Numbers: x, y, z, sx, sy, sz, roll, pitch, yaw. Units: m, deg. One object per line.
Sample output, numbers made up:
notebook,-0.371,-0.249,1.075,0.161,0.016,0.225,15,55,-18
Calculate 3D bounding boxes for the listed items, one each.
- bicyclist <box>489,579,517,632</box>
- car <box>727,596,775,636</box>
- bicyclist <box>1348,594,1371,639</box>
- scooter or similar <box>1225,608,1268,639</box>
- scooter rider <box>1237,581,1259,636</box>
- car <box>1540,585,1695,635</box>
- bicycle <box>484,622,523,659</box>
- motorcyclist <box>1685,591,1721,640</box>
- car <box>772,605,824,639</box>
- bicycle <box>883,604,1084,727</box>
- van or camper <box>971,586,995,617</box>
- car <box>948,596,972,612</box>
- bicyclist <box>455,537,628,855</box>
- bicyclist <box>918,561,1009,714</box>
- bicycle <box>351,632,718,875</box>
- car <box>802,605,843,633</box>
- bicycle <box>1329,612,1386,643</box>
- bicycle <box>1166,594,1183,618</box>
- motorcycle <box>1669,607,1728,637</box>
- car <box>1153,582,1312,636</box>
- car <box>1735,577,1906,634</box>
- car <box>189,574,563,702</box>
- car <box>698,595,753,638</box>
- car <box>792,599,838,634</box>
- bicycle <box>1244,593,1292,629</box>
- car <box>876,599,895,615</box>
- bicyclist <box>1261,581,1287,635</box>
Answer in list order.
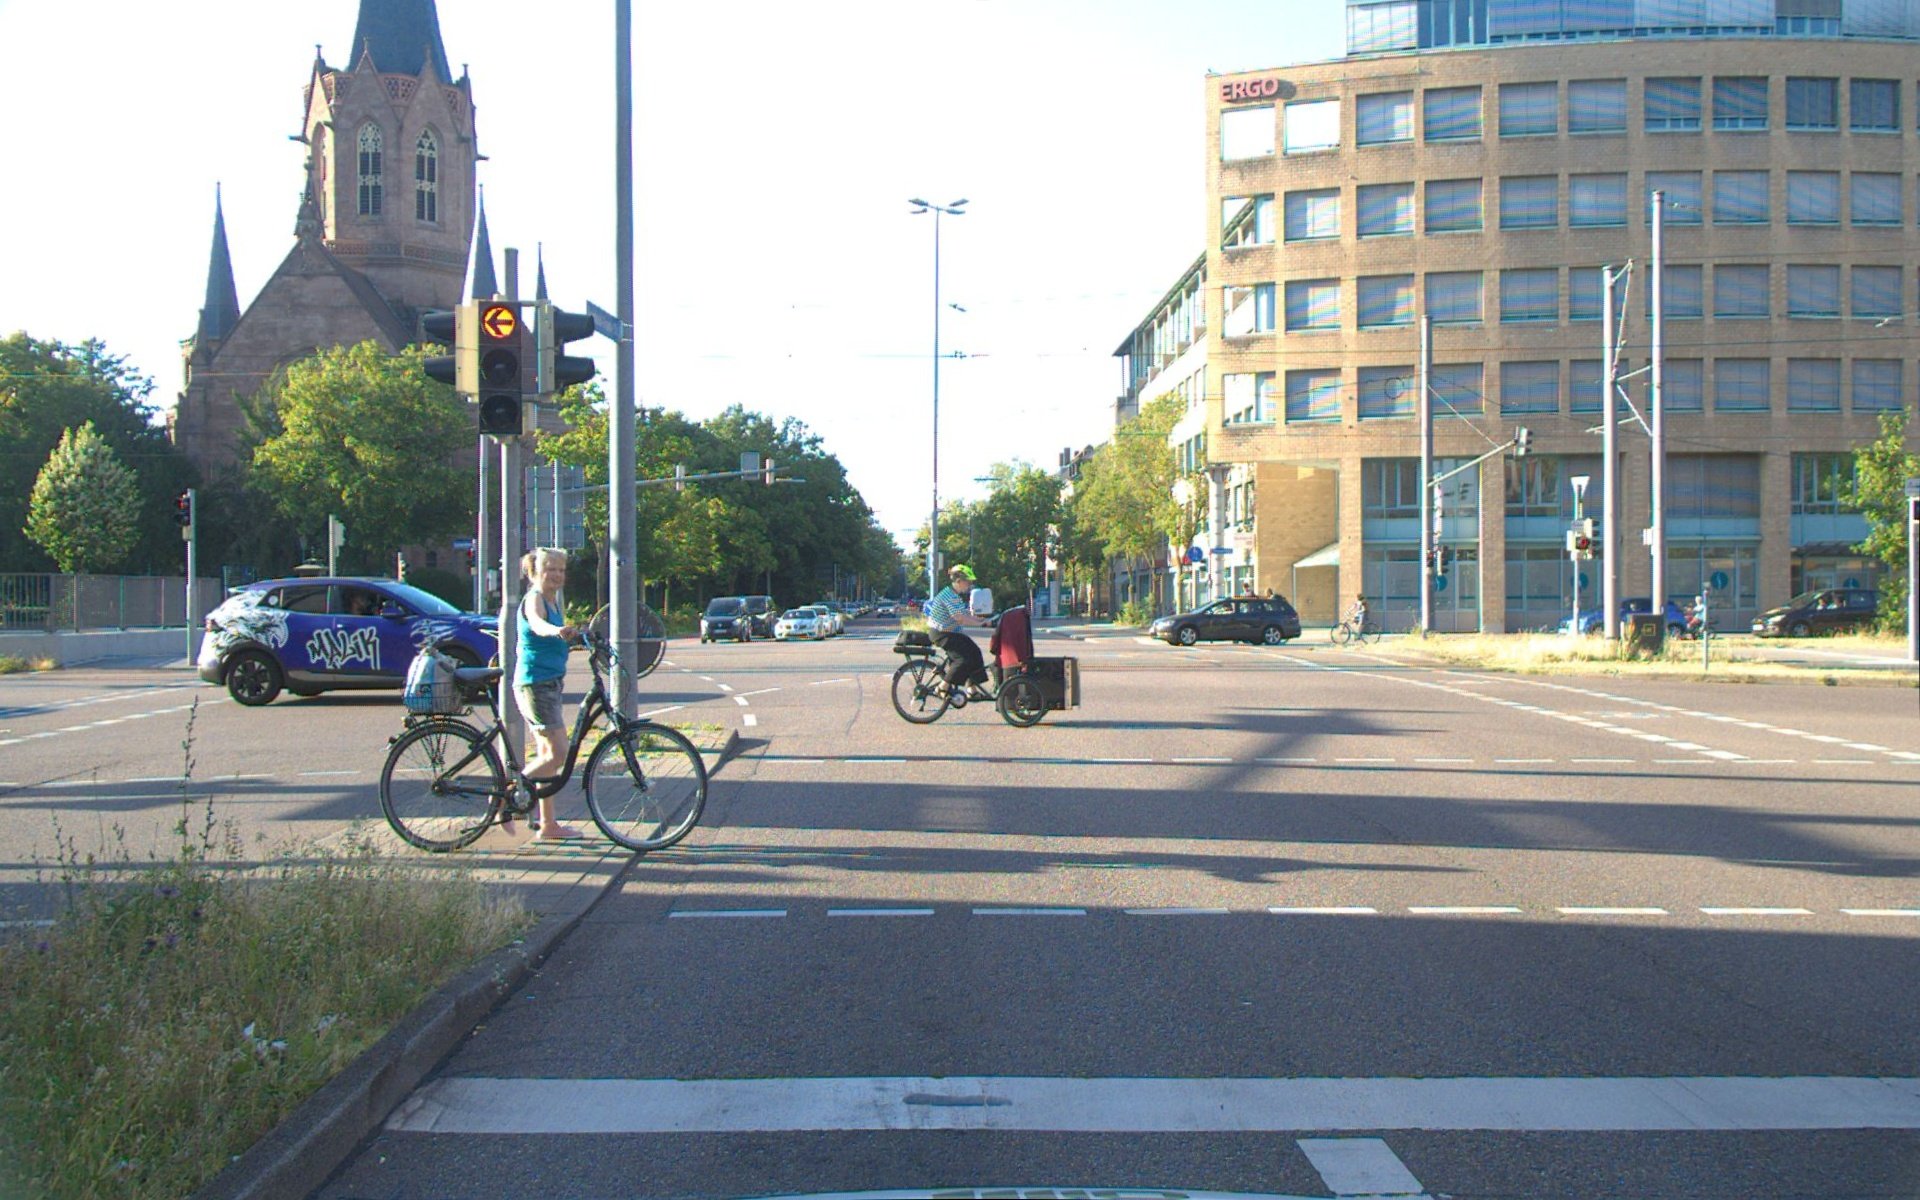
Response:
bicyclist,-14.890,0.184,53.938,0.634,1.724,0.771,0,0,-38
car,-9.369,0.691,74.365,1.744,1.734,3.999,0,0,-1
bicyclist,13.365,0.563,55.370,0.652,1.494,0.534,0,0,2
scooter or similar,9.596,0.795,55.450,1.371,1.019,0.475,-1,0,5
scooter rider,9.648,0.288,55.446,0.666,1.846,0.475,-1,0,5
car,20.962,0.313,52.828,4.146,1.528,1.998,-1,0,-5
bicycle,-14.889,1.308,53.955,0.641,1.159,1.657,-1,0,-38
motorcyclist,24.865,0.506,55.364,0.830,1.613,0.802,0,0,-1
car,-6.479,0.869,66.513,1.744,1.257,3.999,0,0,-1
bicycle,0.213,0.655,17.131,2.002,1.188,1.161,-1,0,-4
van or camper,2.024,0.136,146.509,1.953,2.686,5.350,0,0,0
car,-0.023,0.372,171.682,1.956,1.620,3.994,-1,0,-7
bicyclist,-2.326,0.509,9.292,0.767,1.689,0.900,-1,0,-3
bicyclist,0.026,0.370,17.110,0.862,1.513,1.161,-1,0,-3
bicycle,-2.244,0.796,8.904,1.791,1.209,0.733,-1,0,-3
car,-6.644,0.906,80.348,1.744,1.257,3.999,0,0,-1
bicycle,13.307,0.921,55.375,1.783,1.001,0.534,0,0,2
bicycle,10.988,0.312,84.751,0.757,1.216,2.467,-1,0,6
motorcycle,24.817,0.734,55.585,1.780,0.970,0.524,-1,0,-2
car,8.417,0.265,51.334,4.555,1.626,1.998,-1,0,-5
car,25.951,0.151,49.982,4.142,1.642,2.000,-1,0,0
car,-7.678,0.477,22.059,4.313,1.601,1.836,-1,0,-1
car,-9.465,0.637,66.961,1.744,1.676,3.999,0,0,-1
car,-6.394,0.712,73.092,1.744,1.490,3.999,0,0,-1
bicycle,10.201,0.368,54.799,1.487,1.193,0.475,-1,0,5
car,-7.084,0.645,157.667,1.744,1.474,3.999,0,0,-1
bicyclist,10.438,0.261,54.981,0.774,1.766,0.475,-1,0,5
